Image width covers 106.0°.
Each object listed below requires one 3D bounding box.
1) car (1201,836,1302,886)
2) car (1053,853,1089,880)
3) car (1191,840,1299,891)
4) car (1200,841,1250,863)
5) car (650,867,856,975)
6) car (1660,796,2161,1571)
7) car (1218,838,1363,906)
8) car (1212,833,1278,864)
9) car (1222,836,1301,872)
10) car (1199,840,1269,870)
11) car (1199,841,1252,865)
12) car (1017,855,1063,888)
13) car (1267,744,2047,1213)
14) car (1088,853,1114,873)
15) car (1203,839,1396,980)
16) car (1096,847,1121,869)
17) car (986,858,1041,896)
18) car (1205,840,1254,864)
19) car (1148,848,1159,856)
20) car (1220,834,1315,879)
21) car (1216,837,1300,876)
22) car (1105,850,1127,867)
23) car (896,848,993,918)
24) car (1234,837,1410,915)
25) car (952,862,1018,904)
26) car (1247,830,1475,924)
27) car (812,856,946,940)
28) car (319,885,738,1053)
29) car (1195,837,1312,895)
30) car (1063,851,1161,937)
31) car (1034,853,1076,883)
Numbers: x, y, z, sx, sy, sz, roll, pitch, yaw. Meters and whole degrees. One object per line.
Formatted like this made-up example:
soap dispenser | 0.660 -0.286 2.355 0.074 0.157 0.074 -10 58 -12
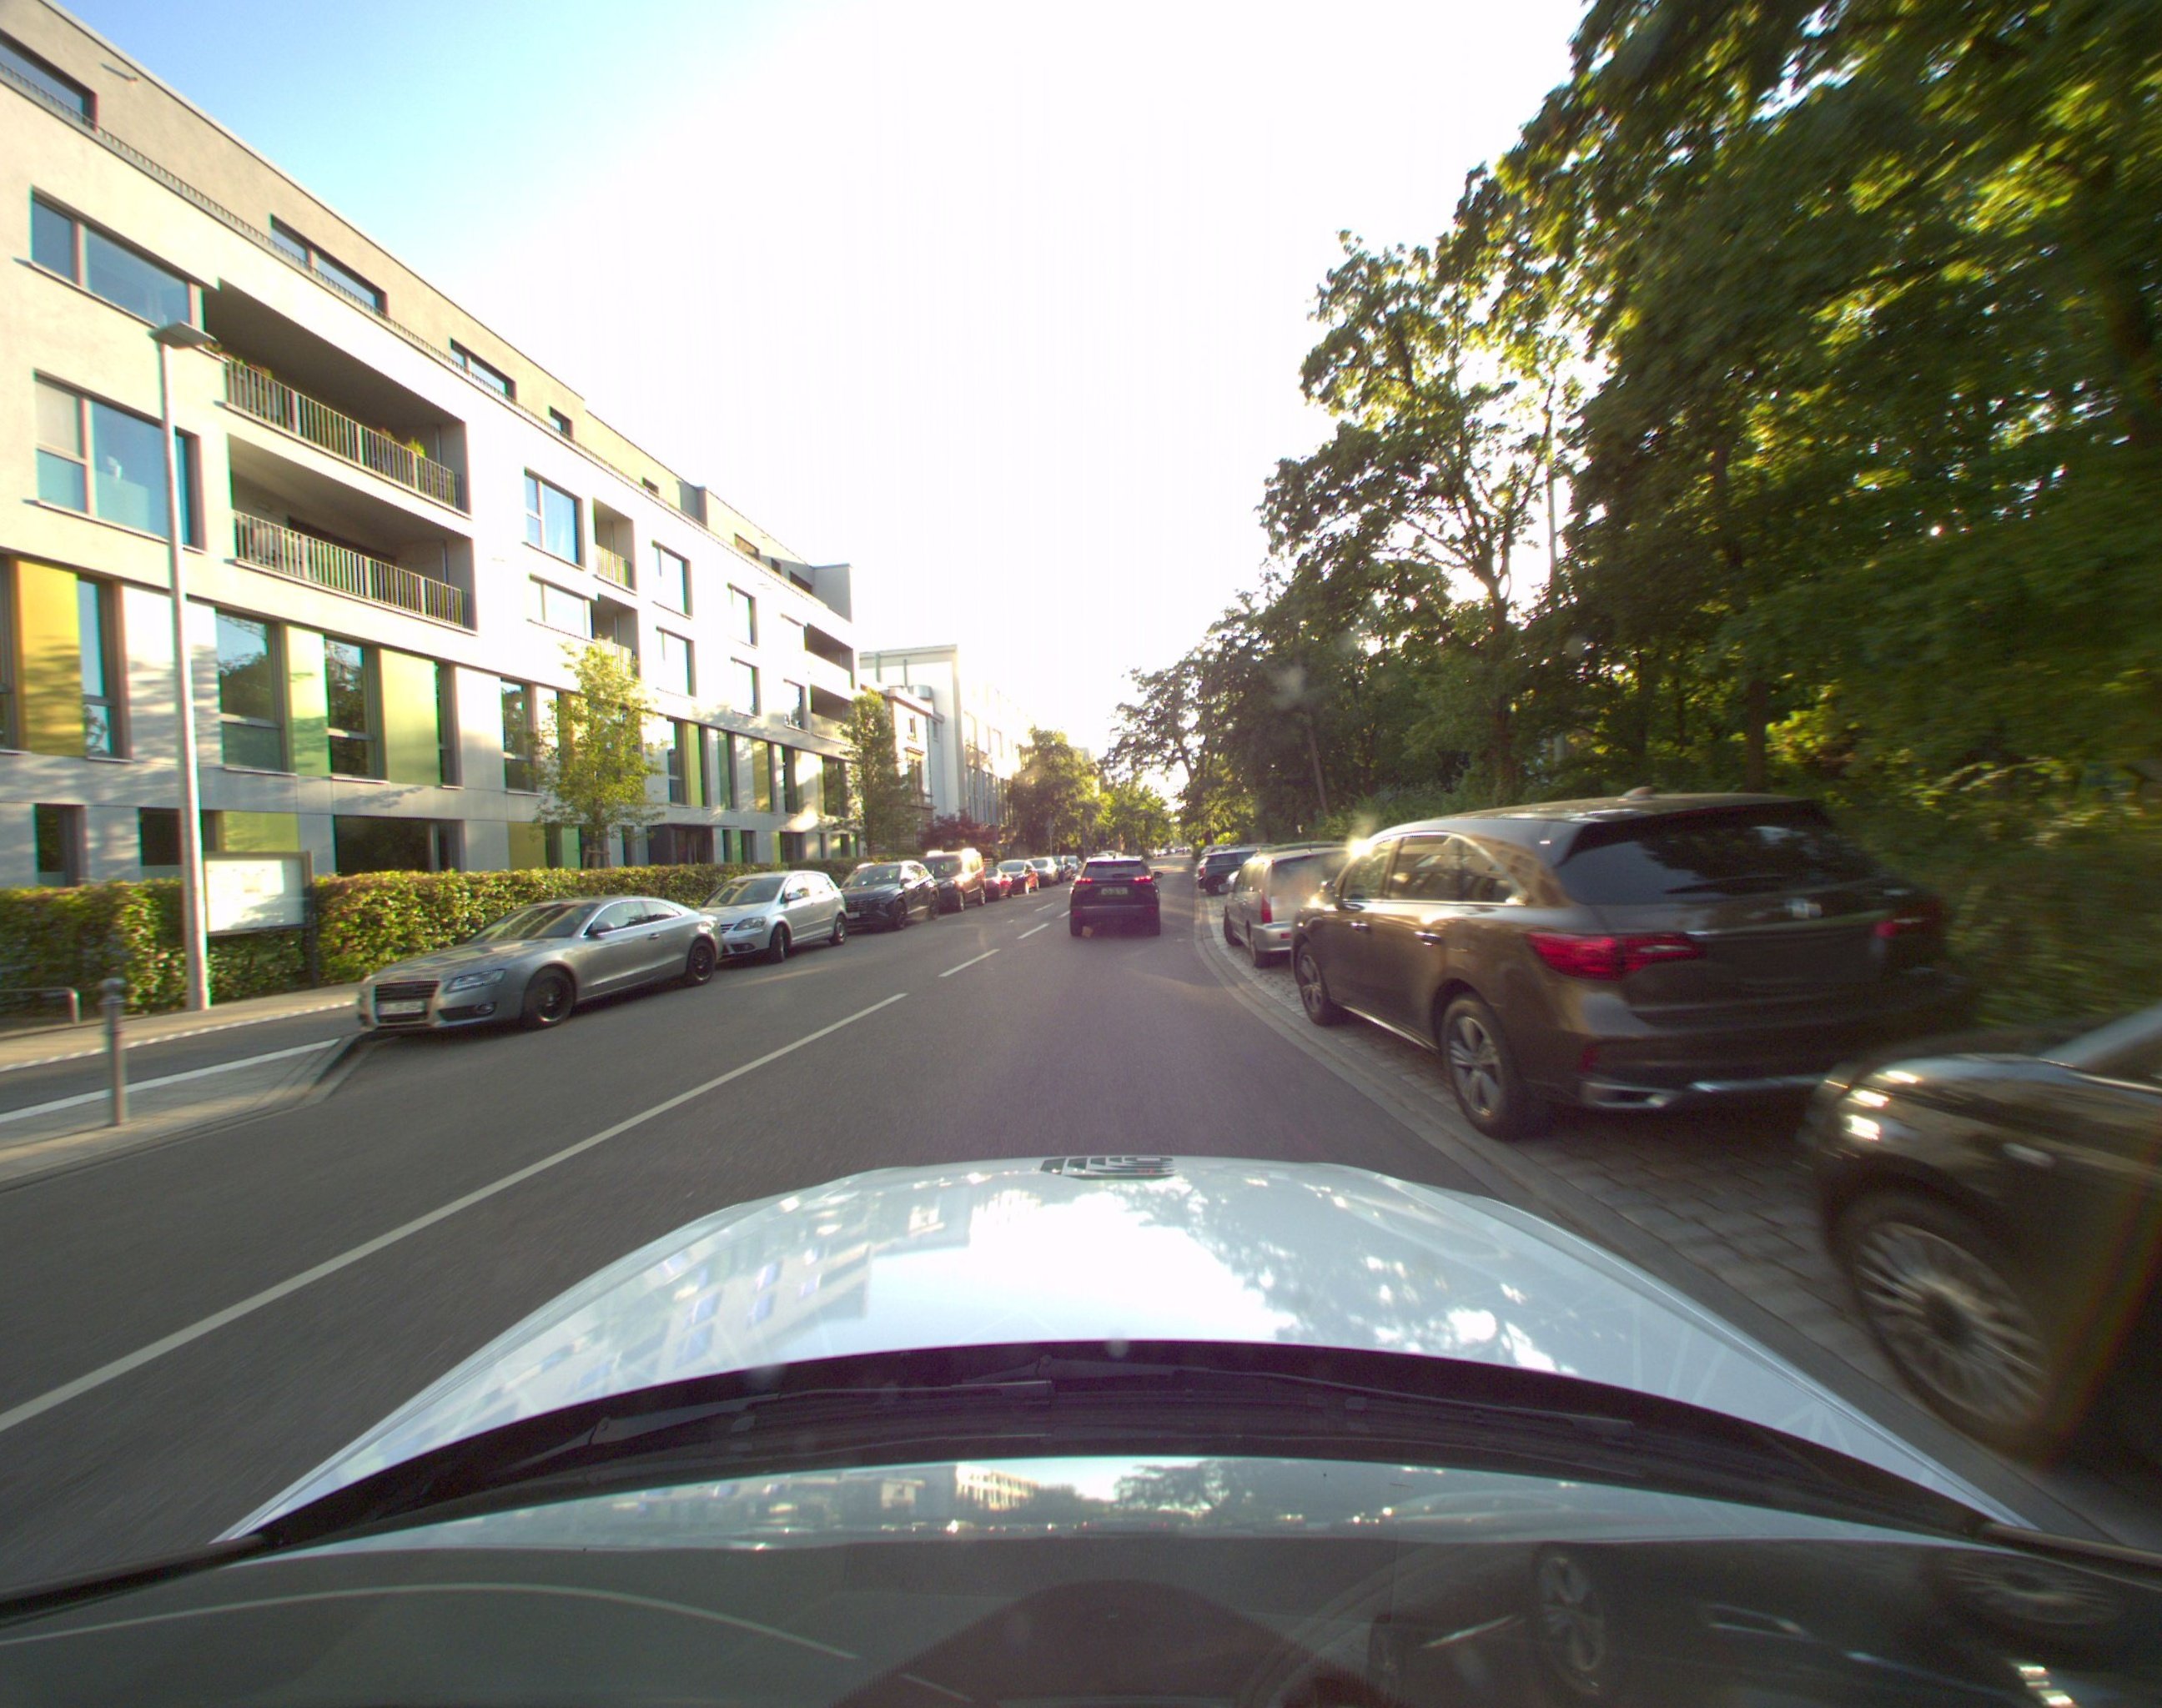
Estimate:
car | 6.780 0.262 32.654 3.648 1.552 1.738 -6 0 5
car | -0.603 0.752 51.233 1.592 1.493 3.781 -4 0 8
car | 5.985 0.396 30.048 3.648 1.444 1.738 -6 0 5
car | 12.608 -0.206 71.198 4.143 1.710 1.873 -3 0 11
car | -5.839 1.112 15.118 1.733 1.533 4.122 -4 0 6
car | 2.856 0.603 1.147 1.614 1.486 3.419 -4 0 1
car | 5.378 0.460 21.237 3.368 1.525 1.674 -3 -1 5
car | 10.250 -0.348 51.088 3.696 1.555 1.744 -6 0 4
car | 9.452 0.011 42.934 3.786 1.474 1.836 -6 -1 8
car | 10.001 0.067 53.299 4.313 1.475 1.746 -6 1 8
car | 11.783 -0.085 66.517 4.099 1.667 1.727 -3 0 7
car | -2.027 0.865 41.801 1.590 1.455 4.063 -4 0 7
car | 2.861 0.487 5.600 1.916 1.748 4.664 -4 0 -1
car | 1.725 0.722 68.725 1.661 1.493 4.071 -4 0 8
car | 2.904 0.646 11.770 1.644 1.567 4.303 -4 0 1
car | 2.579 0.338 74.225 1.670 1.708 4.351 -4 0 8
car | -2.887 0.955 35.714 1.590 1.455 3.869 -4 0 7
car | 11.638 -0.115 64.030 3.570 1.566 1.822 -5 -1 6
car | 13.965 -0.429 156.975 1.803 1.354 4.003 -4 0 3
car | 7.989 0.124 35.189 3.704 1.498 1.824 -6 -1 8
car | 8.674 0.112 40.179 3.786 1.474 1.760 -6 -1 8
car | 3.478 0.410 80.570 1.670 1.457 3.891 -4 0 8
car | -4.275 0.836 26.143 1.798 1.889 4.247 -4 0 7
car | 5.421 0.476 18.698 3.606 1.540 1.675 -3 1 8
car | -3.570 1.054 30.909 1.548 1.280 3.740 -4 0 7
car | 5.404 0.434 16.156 3.928 1.512 1.743 -4 0 7
car | -4.951 1.010 20.668 1.733 1.676 4.425 -4 0 7
car | -6.364 1.223 10.162 1.732 1.356 4.406 -4 0 8
car | 5.793 0.393 27.655 3.592 1.525 1.674 -6 0 5
car | 0.745 0.743 16.853 1.759 1.568 3.386 -1 0 6
car | -1.434 0.773 46.711 1.589 1.507 3.798 -4 0 10
